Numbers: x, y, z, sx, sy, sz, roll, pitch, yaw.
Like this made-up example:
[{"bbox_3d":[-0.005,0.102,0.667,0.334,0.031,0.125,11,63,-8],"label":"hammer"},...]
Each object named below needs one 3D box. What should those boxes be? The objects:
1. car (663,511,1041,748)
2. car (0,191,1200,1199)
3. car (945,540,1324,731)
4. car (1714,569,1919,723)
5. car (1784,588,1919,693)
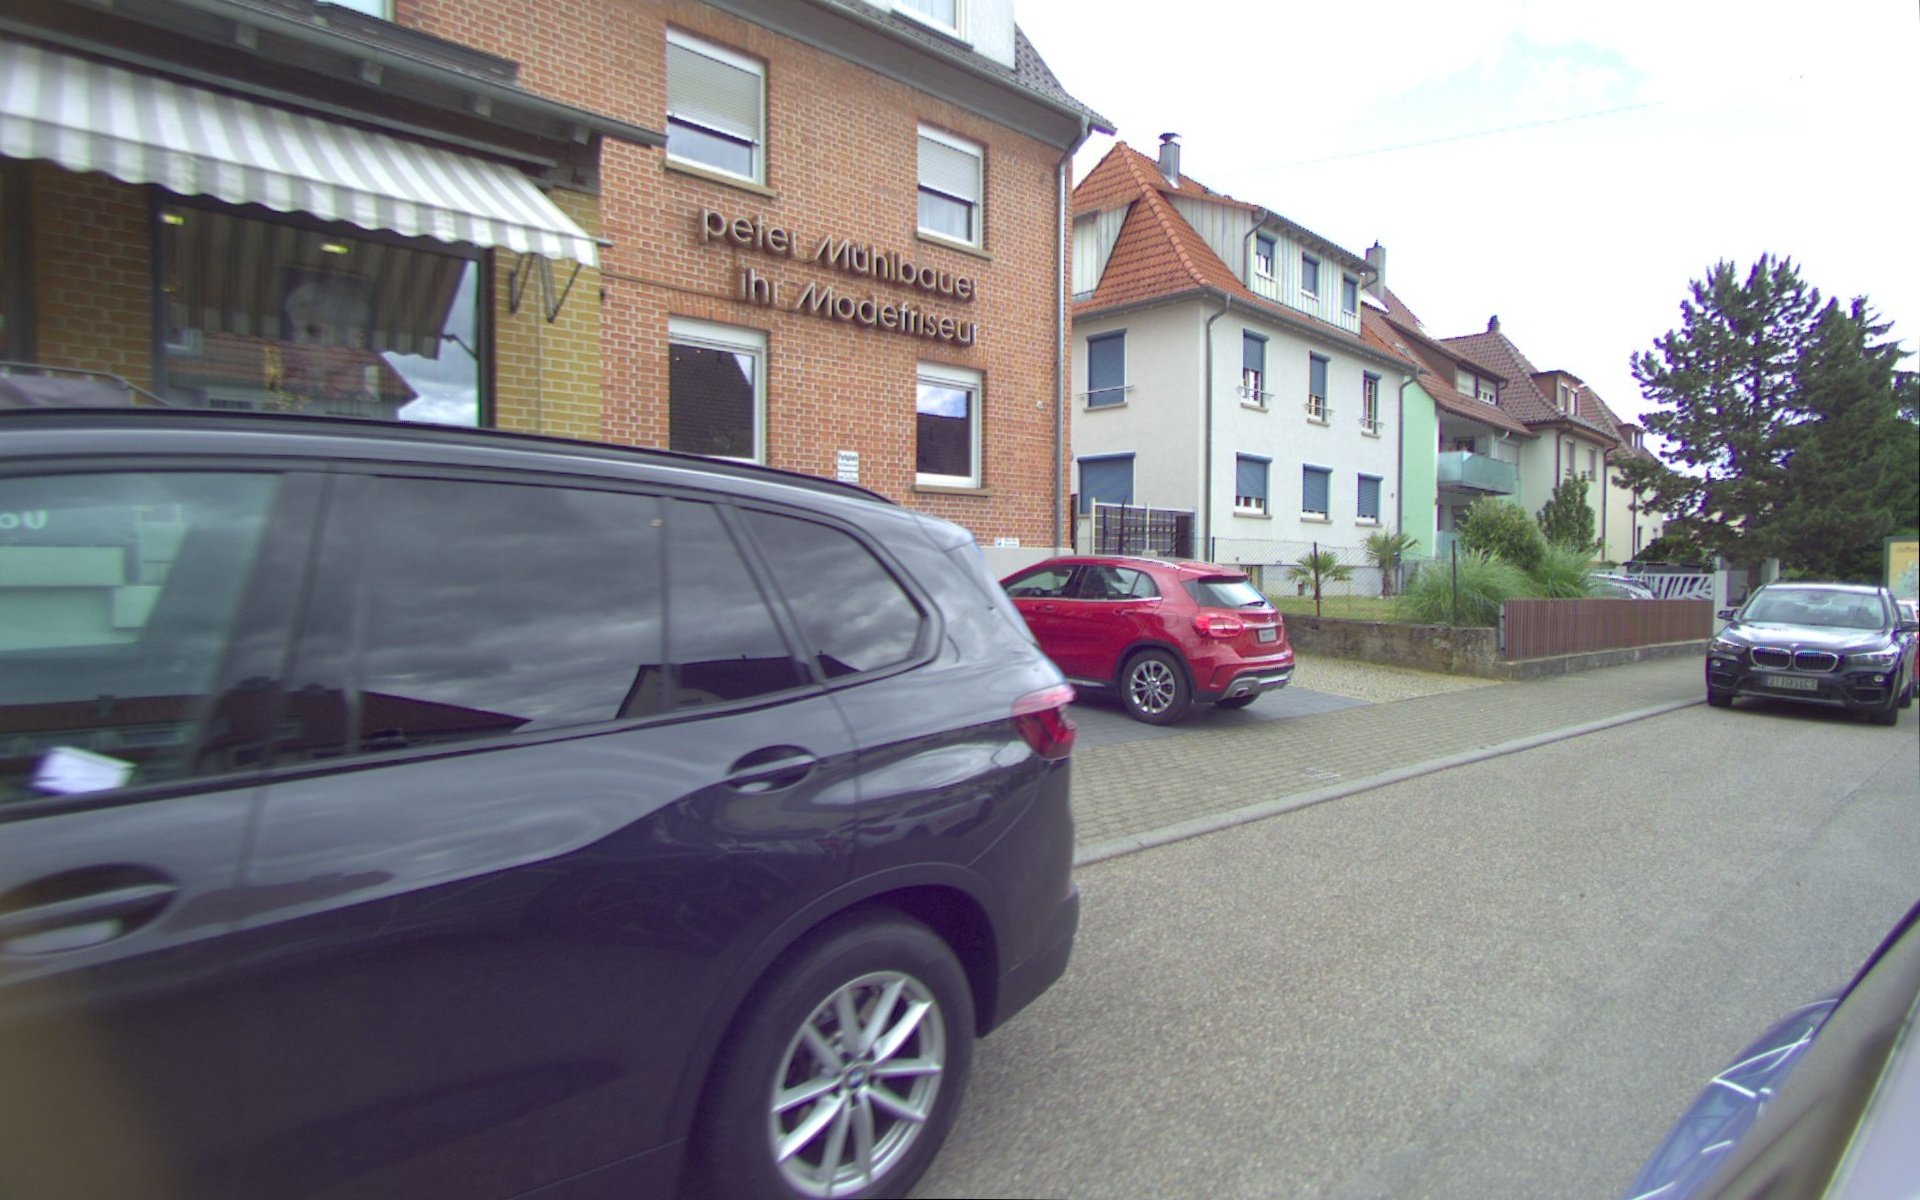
[{"bbox_3d":[-1.089,0.108,9.065,3.355,1.653,1.555,6,5,45],"label":"car"},{"bbox_3d":[-1.806,0.380,1.989,4.828,1.859,1.903,0,3,-40],"label":"car"},{"bbox_3d":[1.683,0.222,10.307,3.352,1.476,1.723,6,5,42],"label":"car"},{"bbox_3d":[11.198,0.465,12.971,4.088,1.611,1.726,-1,3,-43],"label":"car"},{"bbox_3d":[14.471,0.548,15.946,3.620,1.440,1.680,0,2,-41],"label":"car"}]
